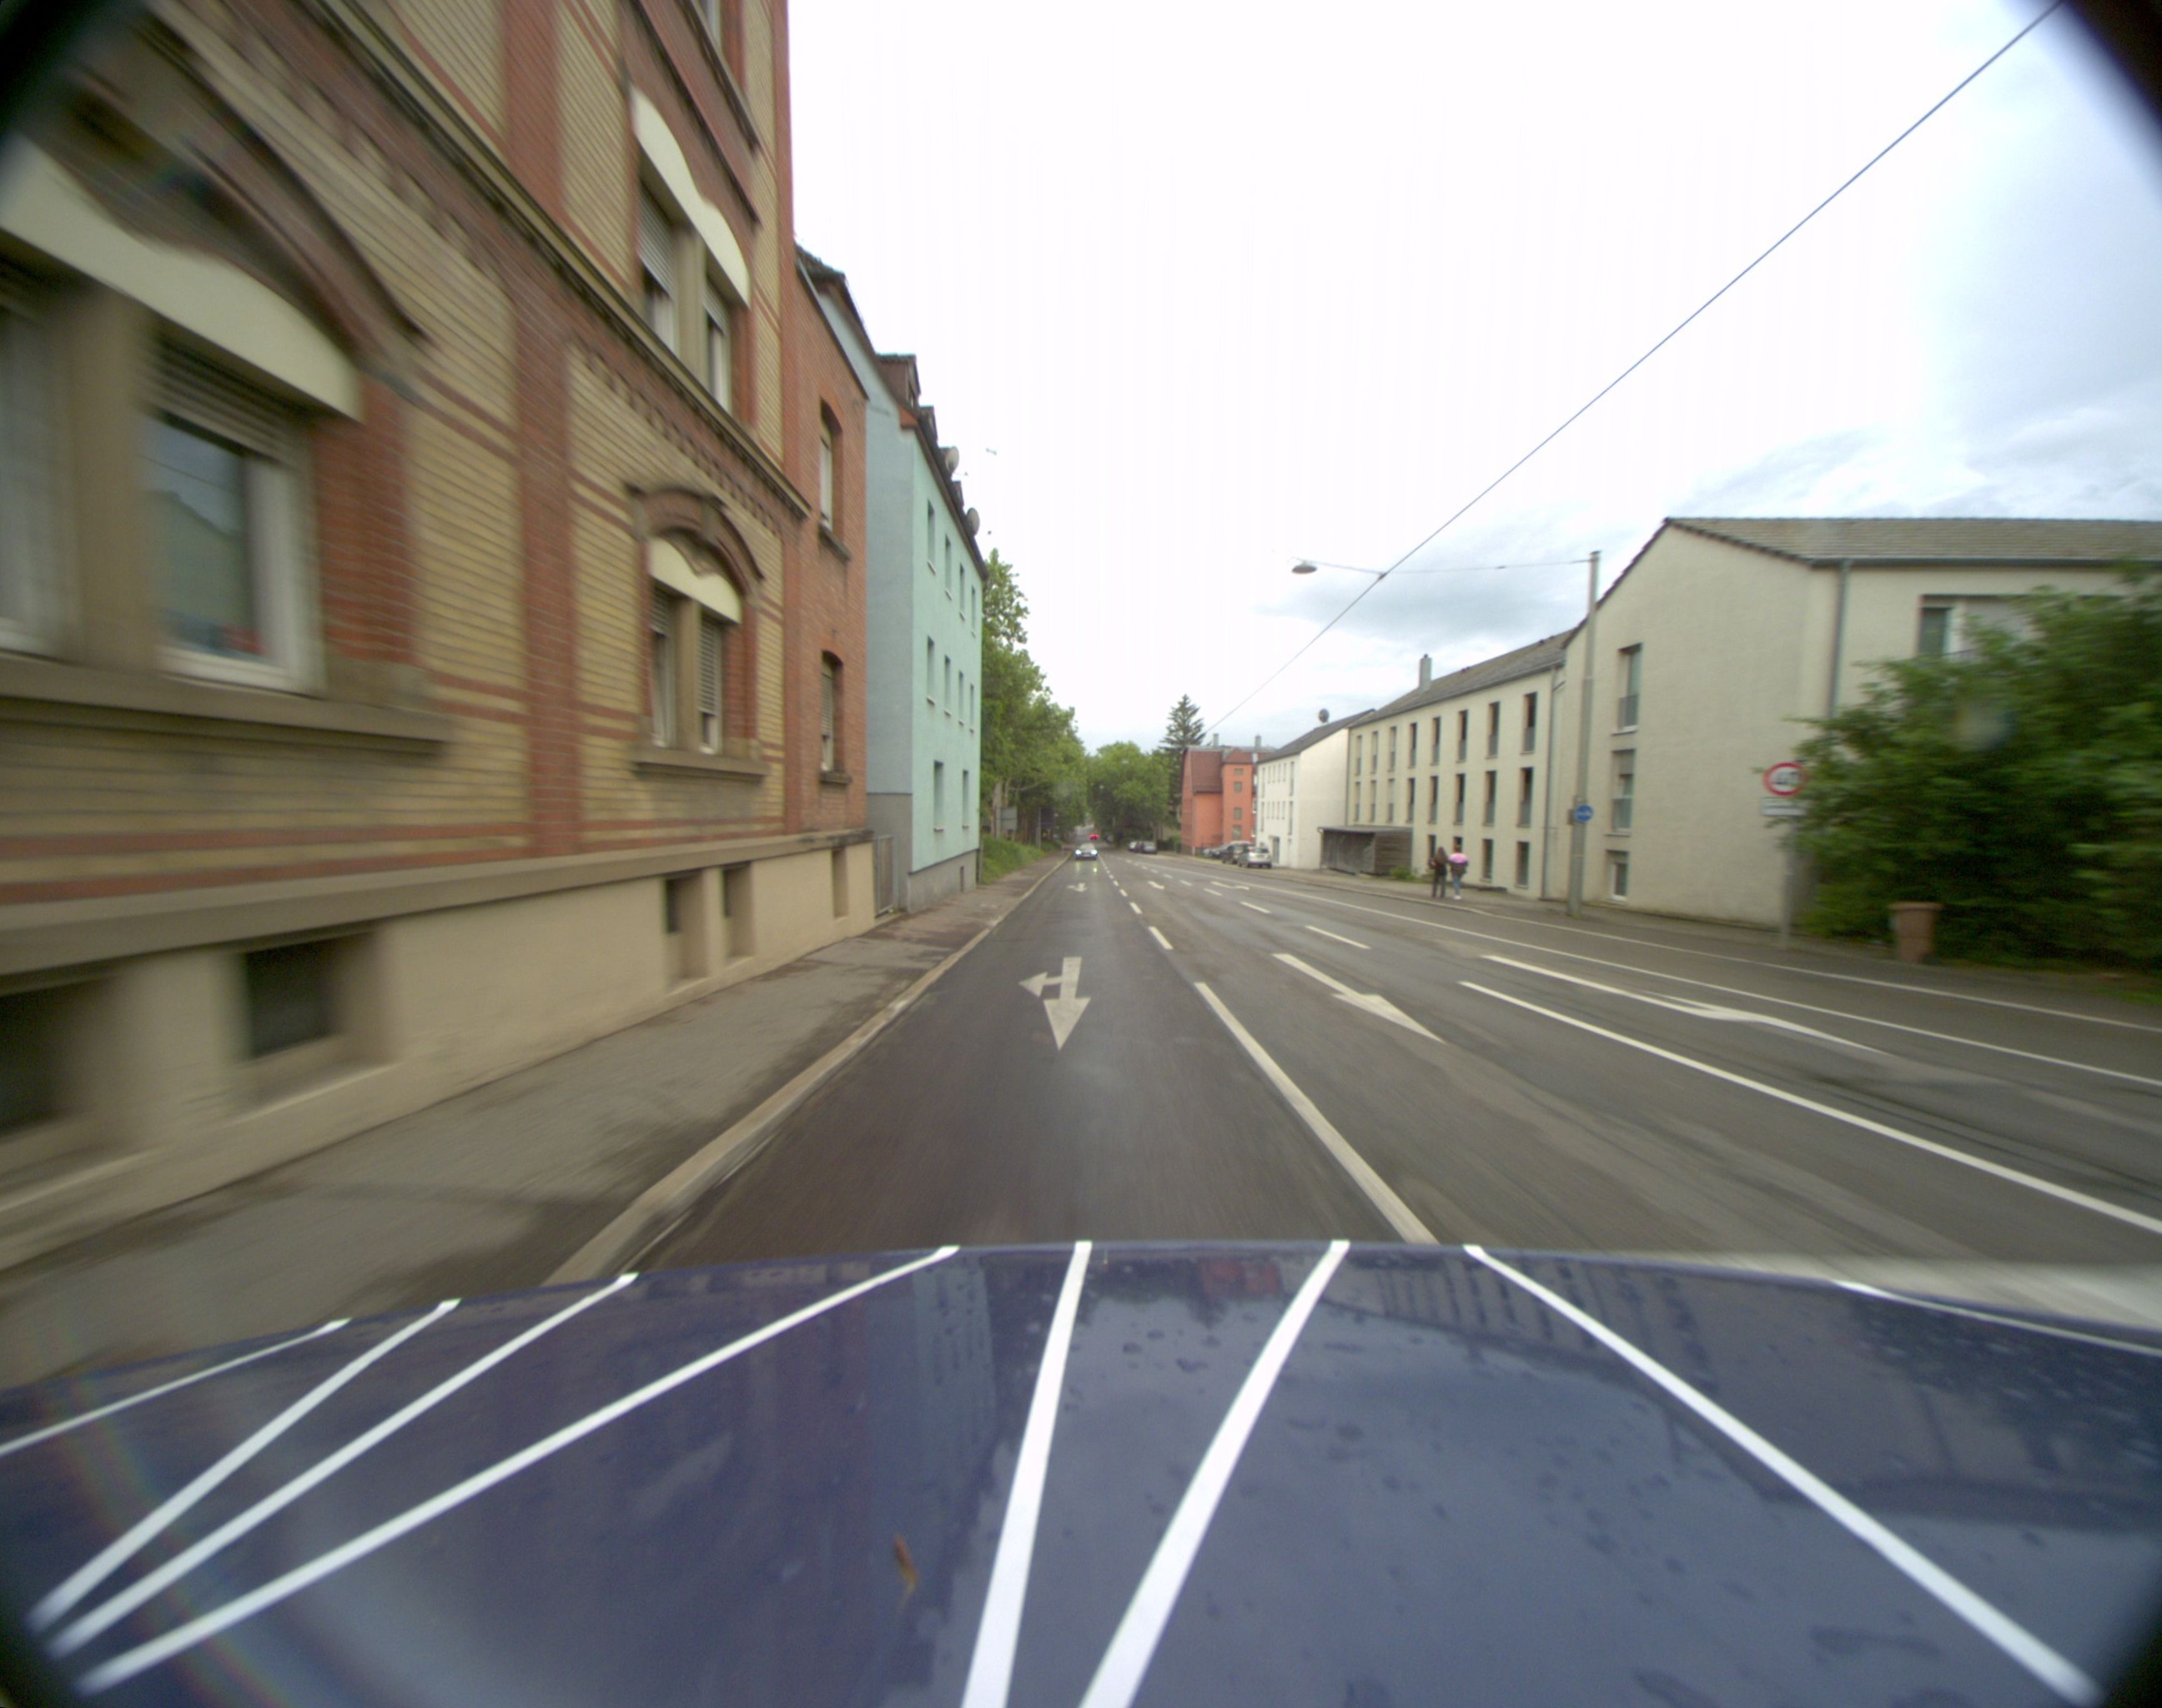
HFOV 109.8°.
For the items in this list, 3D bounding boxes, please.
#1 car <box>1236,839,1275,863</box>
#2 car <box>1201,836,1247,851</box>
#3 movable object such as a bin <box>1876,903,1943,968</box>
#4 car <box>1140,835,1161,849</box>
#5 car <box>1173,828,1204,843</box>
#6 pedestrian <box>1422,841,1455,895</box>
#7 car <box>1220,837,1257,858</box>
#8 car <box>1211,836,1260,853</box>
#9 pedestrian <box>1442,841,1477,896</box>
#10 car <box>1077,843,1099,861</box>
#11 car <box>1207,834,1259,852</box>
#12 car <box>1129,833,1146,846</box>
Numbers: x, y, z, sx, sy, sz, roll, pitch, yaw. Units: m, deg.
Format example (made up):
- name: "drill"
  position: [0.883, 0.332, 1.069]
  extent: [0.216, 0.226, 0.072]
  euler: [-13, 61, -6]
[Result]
- name: "car"
  position: [12.165, -0.241, 53.112]
  extent: [1.749, 1.500, 4.176]
  euler: [0, 2, 0]
- name: "car"
  position: [14.182, -1.054, 75.504]
  extent: [4.172, 1.426, 2.000]
  euler: [-1, 2, 2]
- name: "movable object such as a bin"
  position: [12.644, 1.237, 11.610]
  extent: [0.410, 0.920, 0.525]
  euler: [-1, 3, -6]
- name: "car"
  position: [7.721, -1.354, 84.992]
  extent: [1.789, 1.402, 4.196]
  euler: [2, 2, -3]
- name: "car"
  position: [14.470, -2.480, 102.326]
  extent: [3.994, 2.003, 2.000]
  euler: [0, 3, 8]
- name: "pedestrian"
  position: [11.380, 0.437, 24.211]
  extent: [0.642, 1.697, 0.911]
  euler: [0, 2, 1]
- name: "car"
  position: [12.403, -0.555, 60.038]
  extent: [1.750, 1.544, 4.080]
  euler: [-2, 2, -4]
- name: "car"
  position: [14.217, -0.853, 70.219]
  extent: [4.136, 1.456, 1.895]
  euler: [-1, 2, 2]
- name: "pedestrian"
  position: [12.045, 0.455, 24.204]
  extent: [0.642, 1.697, 0.911]
  euler: [0, 2, 1]
- name: "car"
  position: [0.633, -0.208, 66.773]
  extent: [1.842, 1.403, 3.998]
  euler: [0, 2, 0]
- name: "car"
  position: [14.547, -1.054, 72.999]
  extent: [4.542, 1.599, 2.152]
  euler: [-1, 2, 2]
- name: "car"
  position: [7.140, -1.830, 96.110]
  extent: [1.816, 1.537, 4.197]
  euler: [4, 2, 0]
